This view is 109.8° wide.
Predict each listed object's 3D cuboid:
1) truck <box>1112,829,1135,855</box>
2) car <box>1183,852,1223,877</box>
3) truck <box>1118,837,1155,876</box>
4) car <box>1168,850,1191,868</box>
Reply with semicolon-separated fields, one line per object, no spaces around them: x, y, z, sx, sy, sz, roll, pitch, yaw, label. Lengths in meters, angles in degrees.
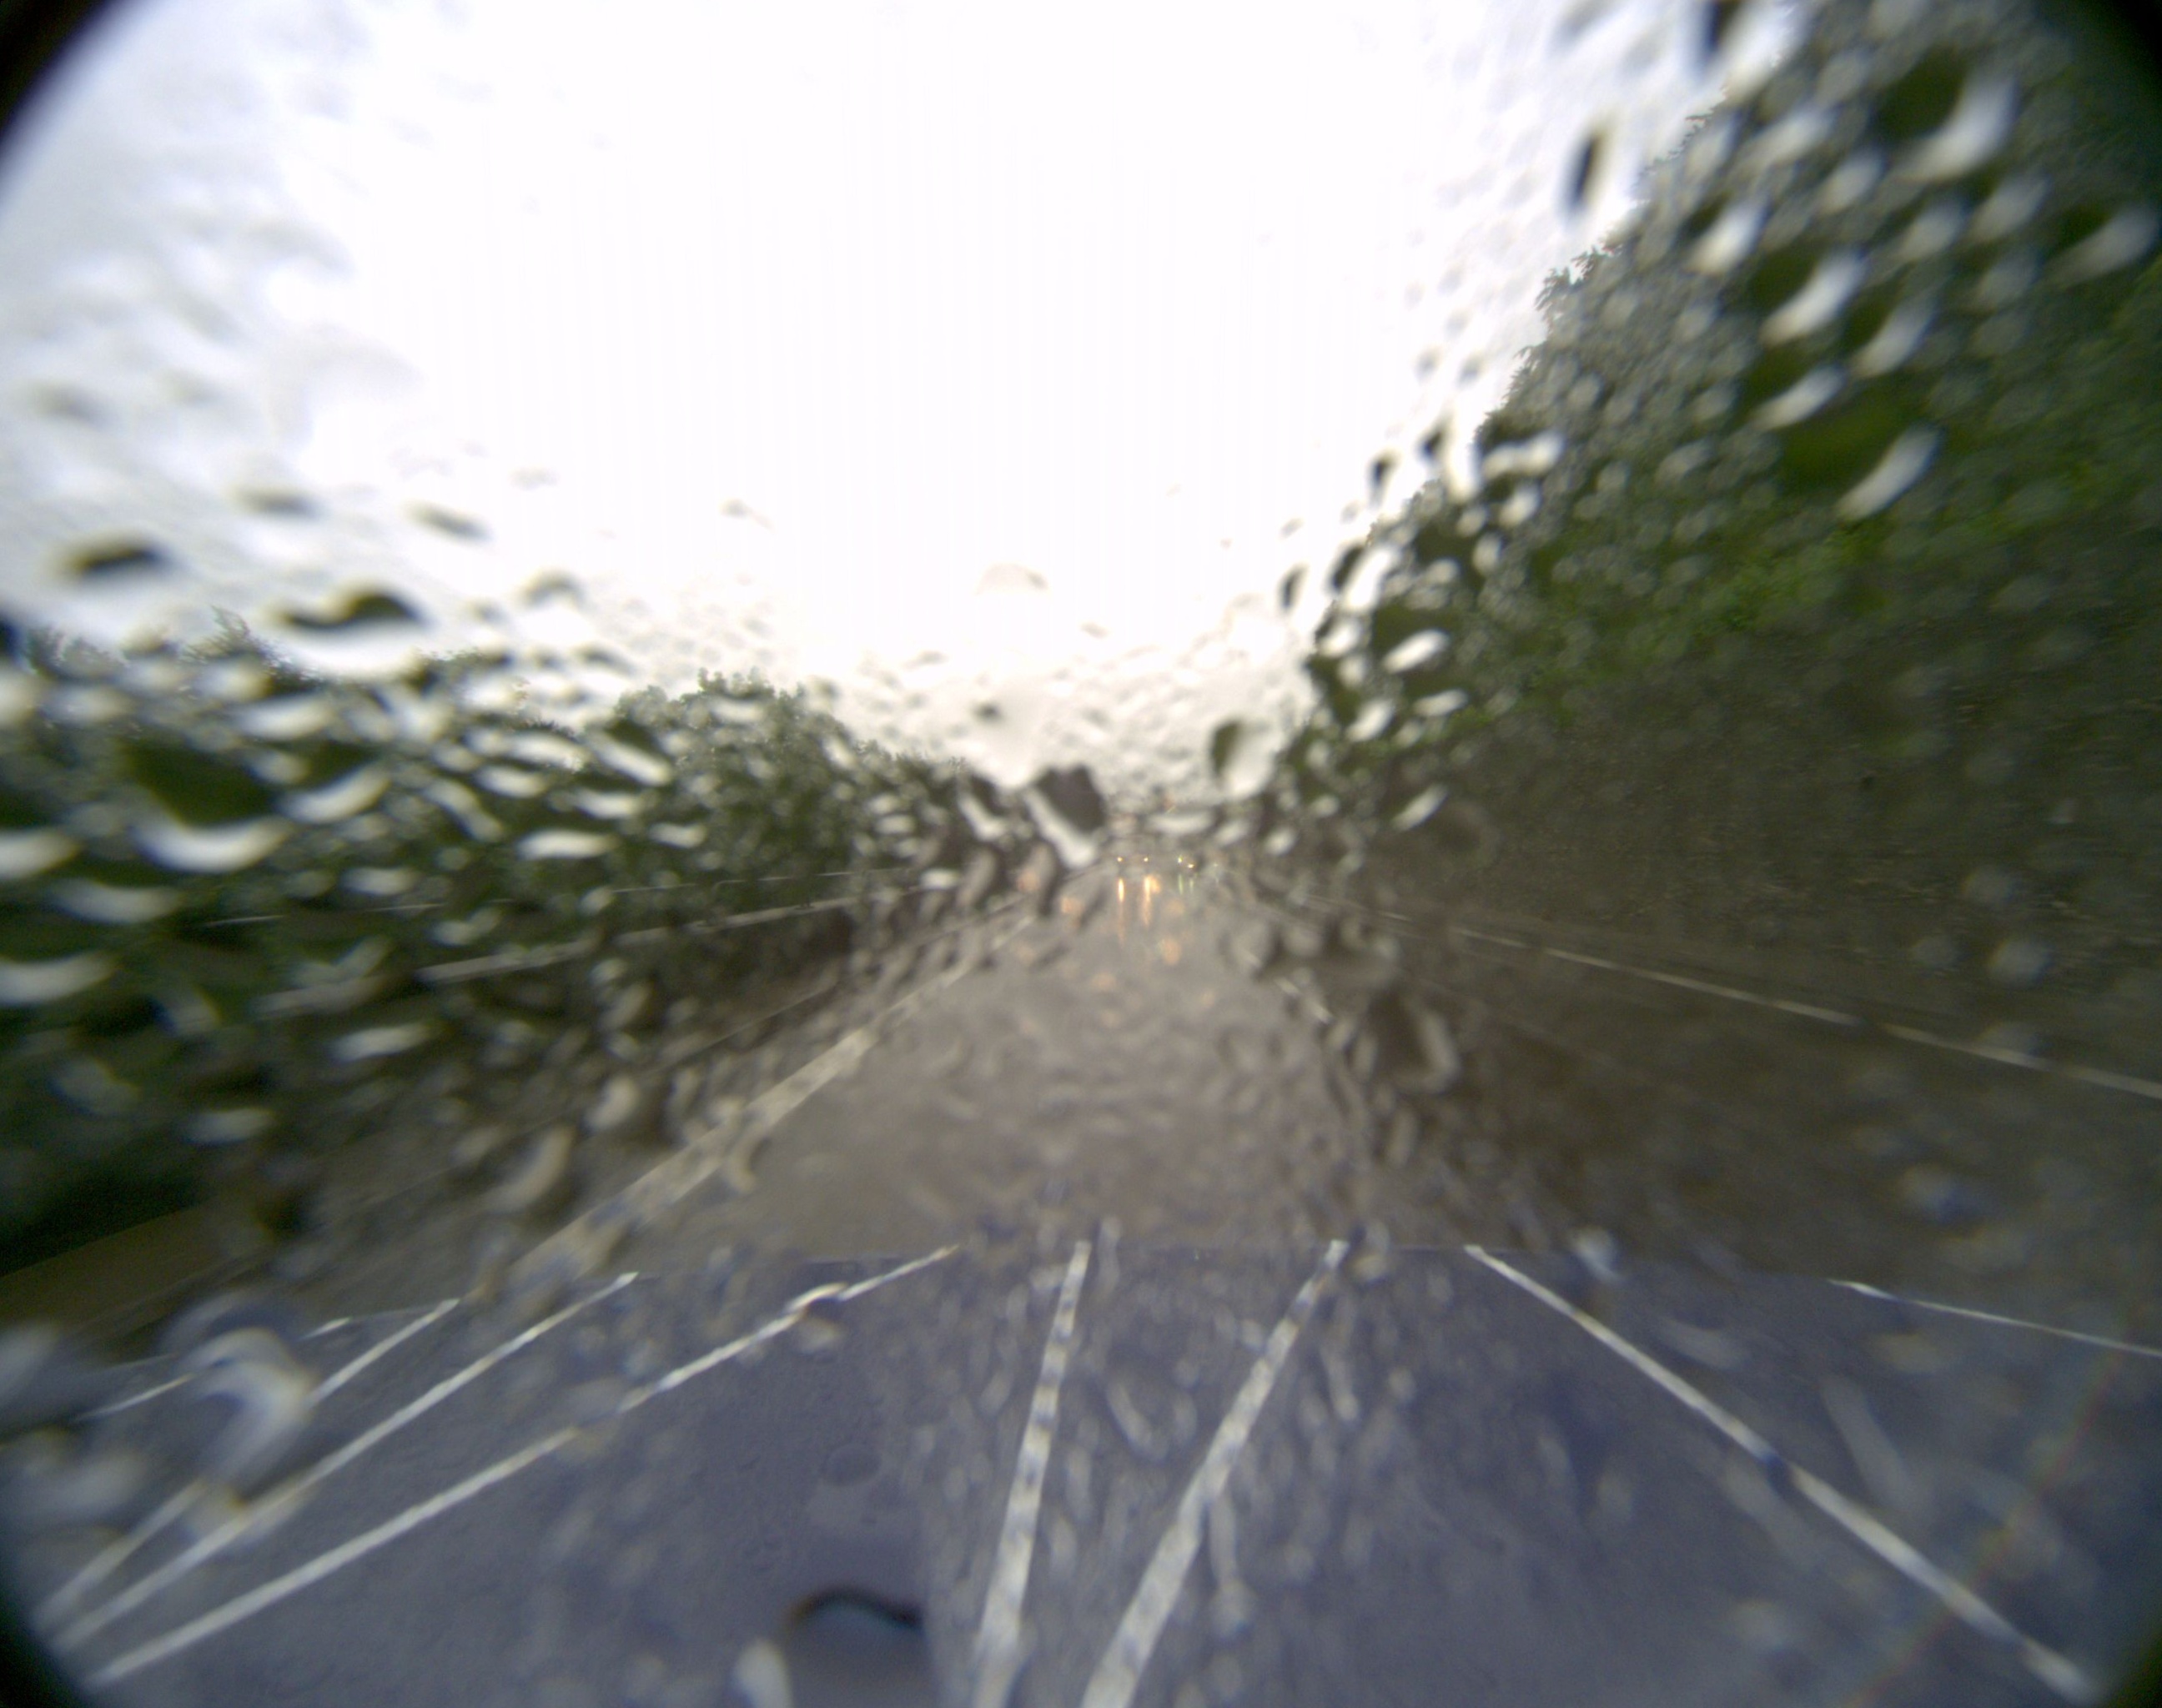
7.460;-2.069;132.901;2.808;4.280;6.471;0;1;14;truck
7.349;0.584;46.046;1.827;1.375;4.000;-2;0;2;car
3.879;0.134;52.174;2.107;2.481;8.007;0;0;7;truck
8.897;0.421;68.544;1.826;1.375;4.002;-3;1;9;car
